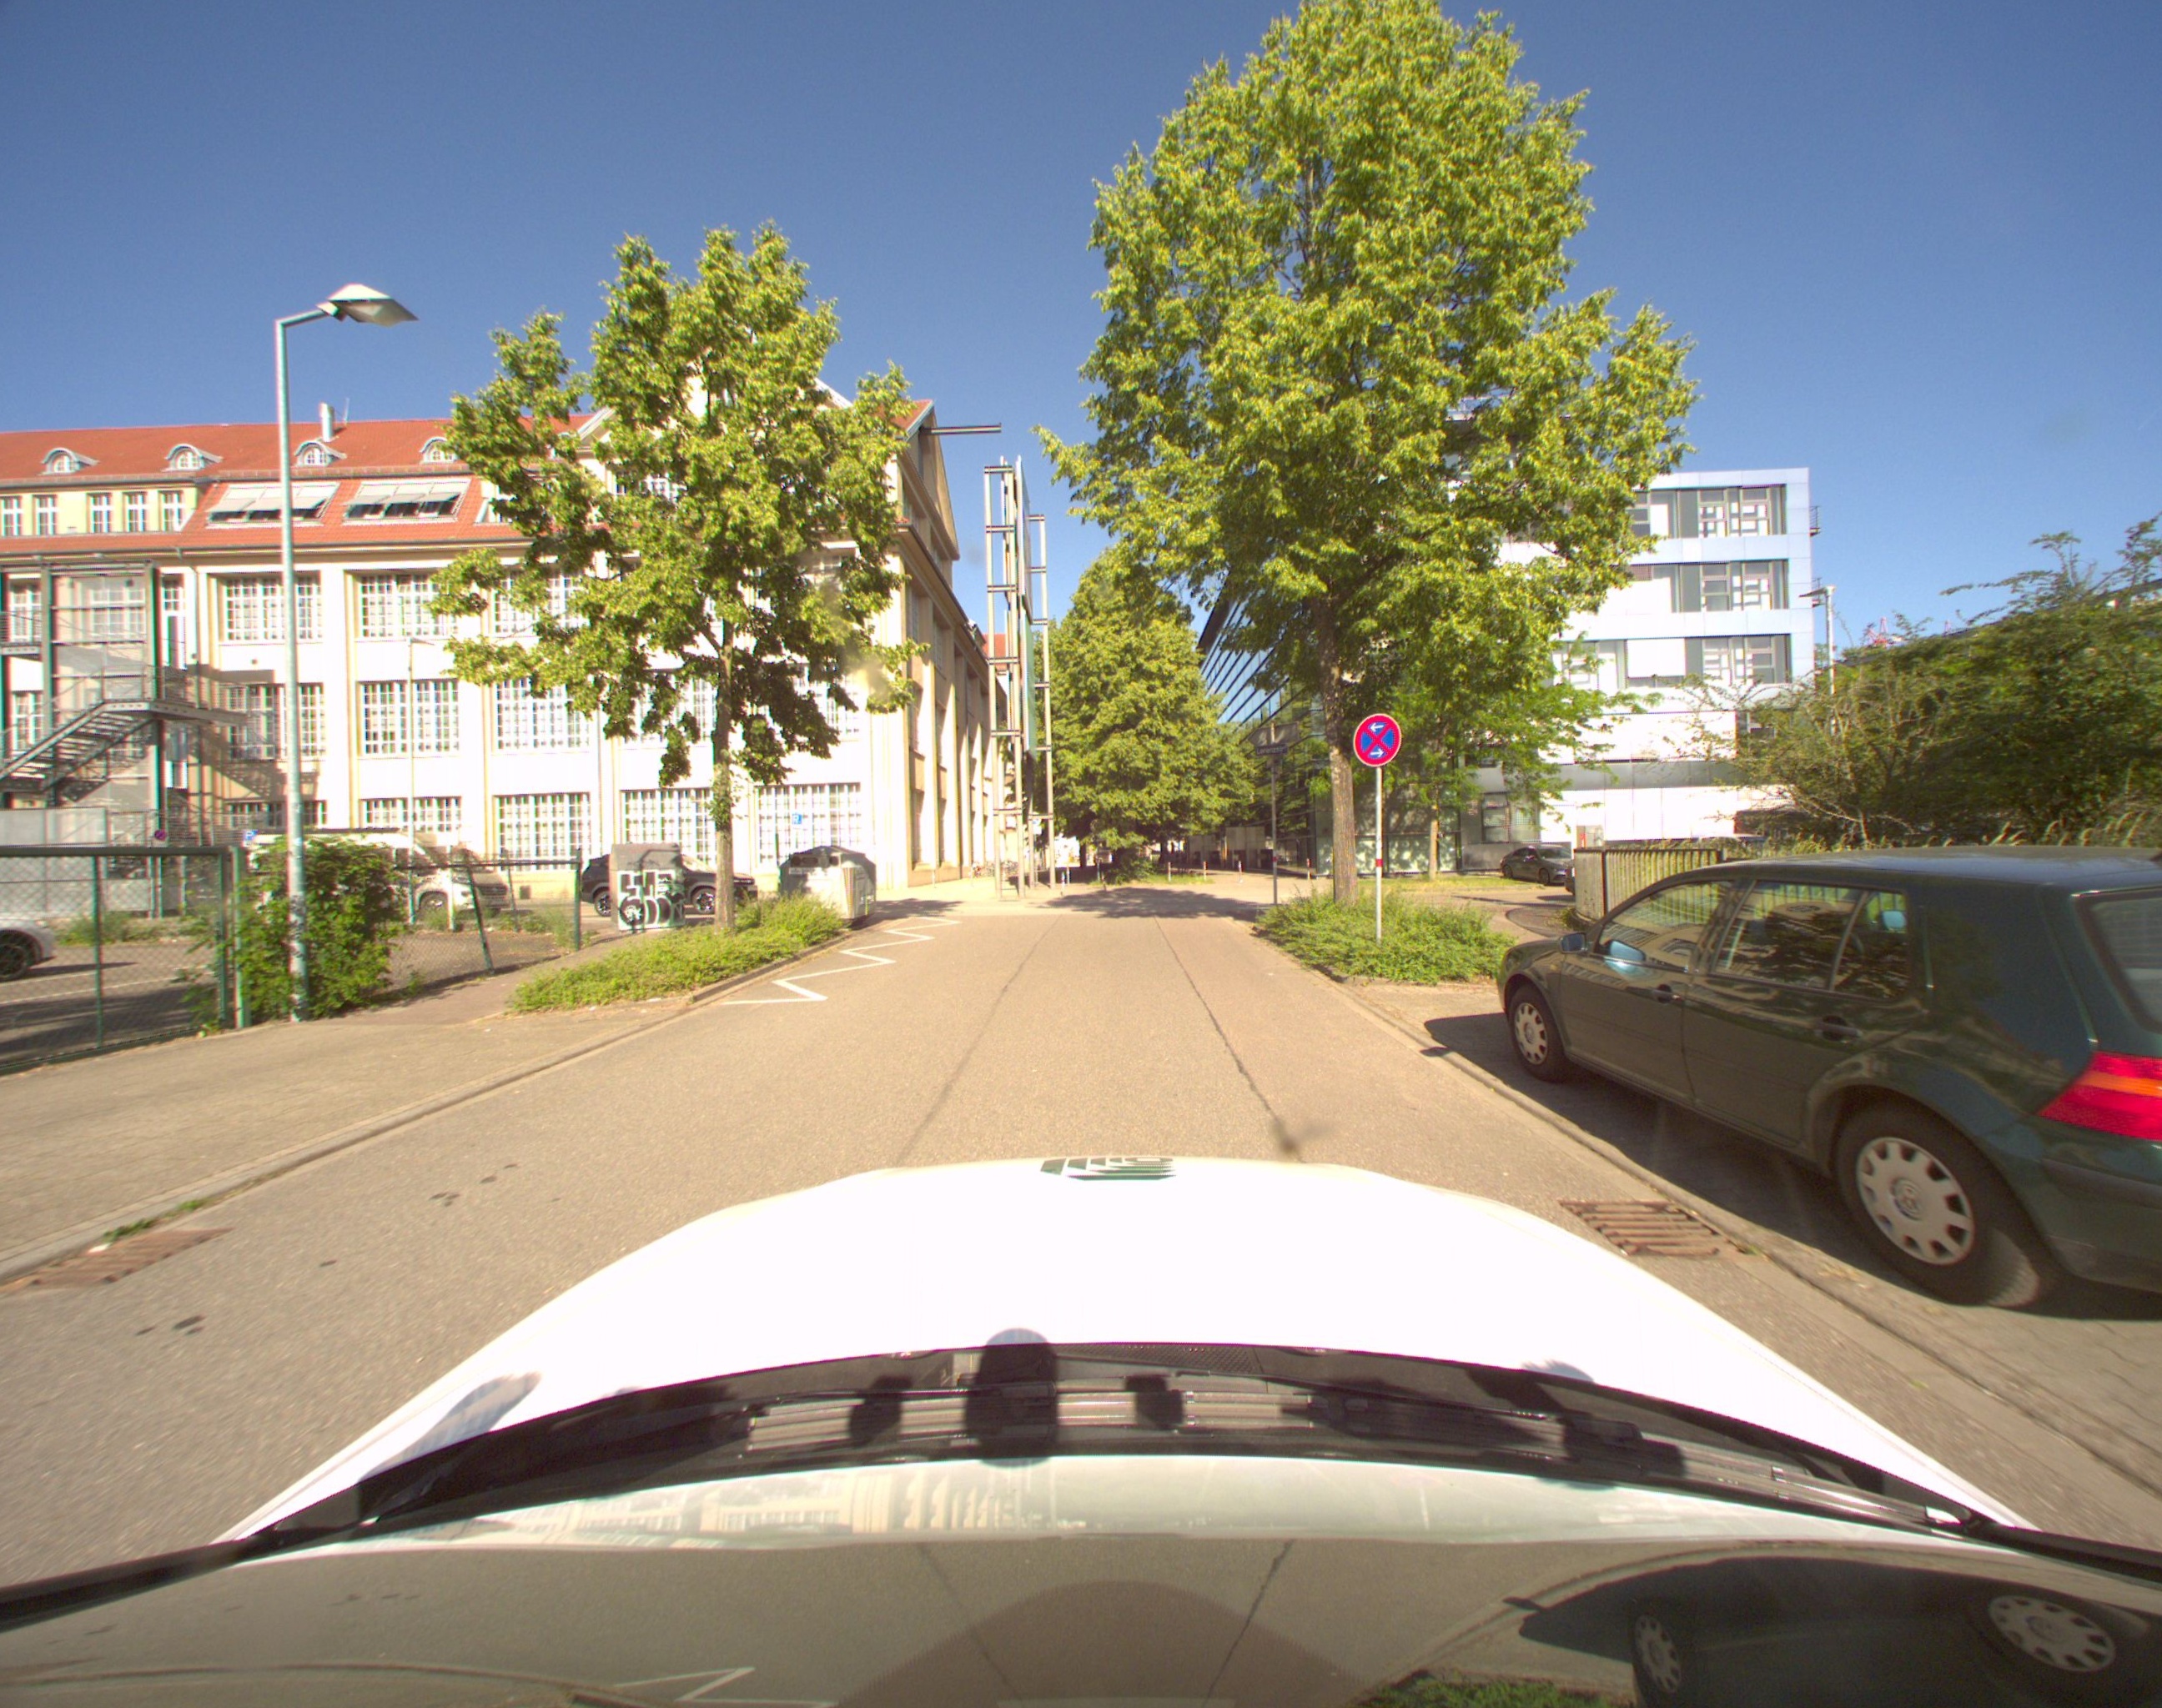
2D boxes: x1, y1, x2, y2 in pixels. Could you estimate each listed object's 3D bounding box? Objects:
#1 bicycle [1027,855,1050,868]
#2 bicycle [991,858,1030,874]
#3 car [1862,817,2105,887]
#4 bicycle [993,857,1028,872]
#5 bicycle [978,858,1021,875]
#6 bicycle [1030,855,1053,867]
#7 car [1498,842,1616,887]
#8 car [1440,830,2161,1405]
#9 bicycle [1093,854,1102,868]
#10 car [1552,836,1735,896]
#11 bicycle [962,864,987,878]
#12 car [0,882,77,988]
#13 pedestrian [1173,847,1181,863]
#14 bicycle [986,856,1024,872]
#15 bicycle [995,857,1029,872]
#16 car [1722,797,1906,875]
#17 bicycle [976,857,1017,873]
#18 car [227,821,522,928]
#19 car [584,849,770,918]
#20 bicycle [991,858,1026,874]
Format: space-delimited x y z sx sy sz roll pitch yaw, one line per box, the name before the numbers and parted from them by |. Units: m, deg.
bicycle | -3.911 0.696 74.871 2.049 1.066 0.507 -2 0 3
bicycle | -5.183 0.881 59.745 2.794 1.063 0.718 -1 0 -3
car | 23.529 -0.030 21.360 4.264 1.629 1.832 -2 -2 1
bicycle | -5.541 0.826 64.309 2.725 1.150 0.718 -1 0 -3
bicycle | -5.525 0.816 55.296 2.794 1.063 0.718 -1 0 -3
bicycle | -3.617 0.656 75.541 2.049 1.066 0.507 -2 0 3
car | 17.625 0.335 30.426 1.879 1.350 4.552 -1 2 1
car | 3.665 0.660 4.243 1.739 1.422 4.426 -3 -1 2
bicycle | 1.388 0.584 69.022 0.618 1.197 2.129 -2 0 -3
car | 15.082 0.324 21.977 3.739 1.472 1.657 -1 -2 0
bicycle | -6.791 1.084 52.249 0.773 0.792 2.892 -1 0 10
car | -17.840 1.308 11.358 1.984 1.609 4.432 -2 0 4
pedestrian | 9.336 0.083 79.212 0.712 1.550 0.692 -2 0 8
bicycle | -5.794 0.749 61.965 2.794 1.150 0.718 -2 0 -3
bicycle | -5.589 0.844 66.165 2.725 1.150 0.718 -1 0 -3
car | 27.603 -0.711 31.017 2.216 2.622 5.476 -2 2 2
bicycle | -5.890 0.756 56.824 2.790 1.063 0.719 -1 0 1
car | -19.400 0.539 22.574 6.240 2.597 2.165 -2 0 1
car | -11.033 0.788 22.458 4.073 1.695 2.002 -2 -1 3
bicycle | -5.650 0.928 63.521 2.725 1.150 0.718 -1 0 -3
